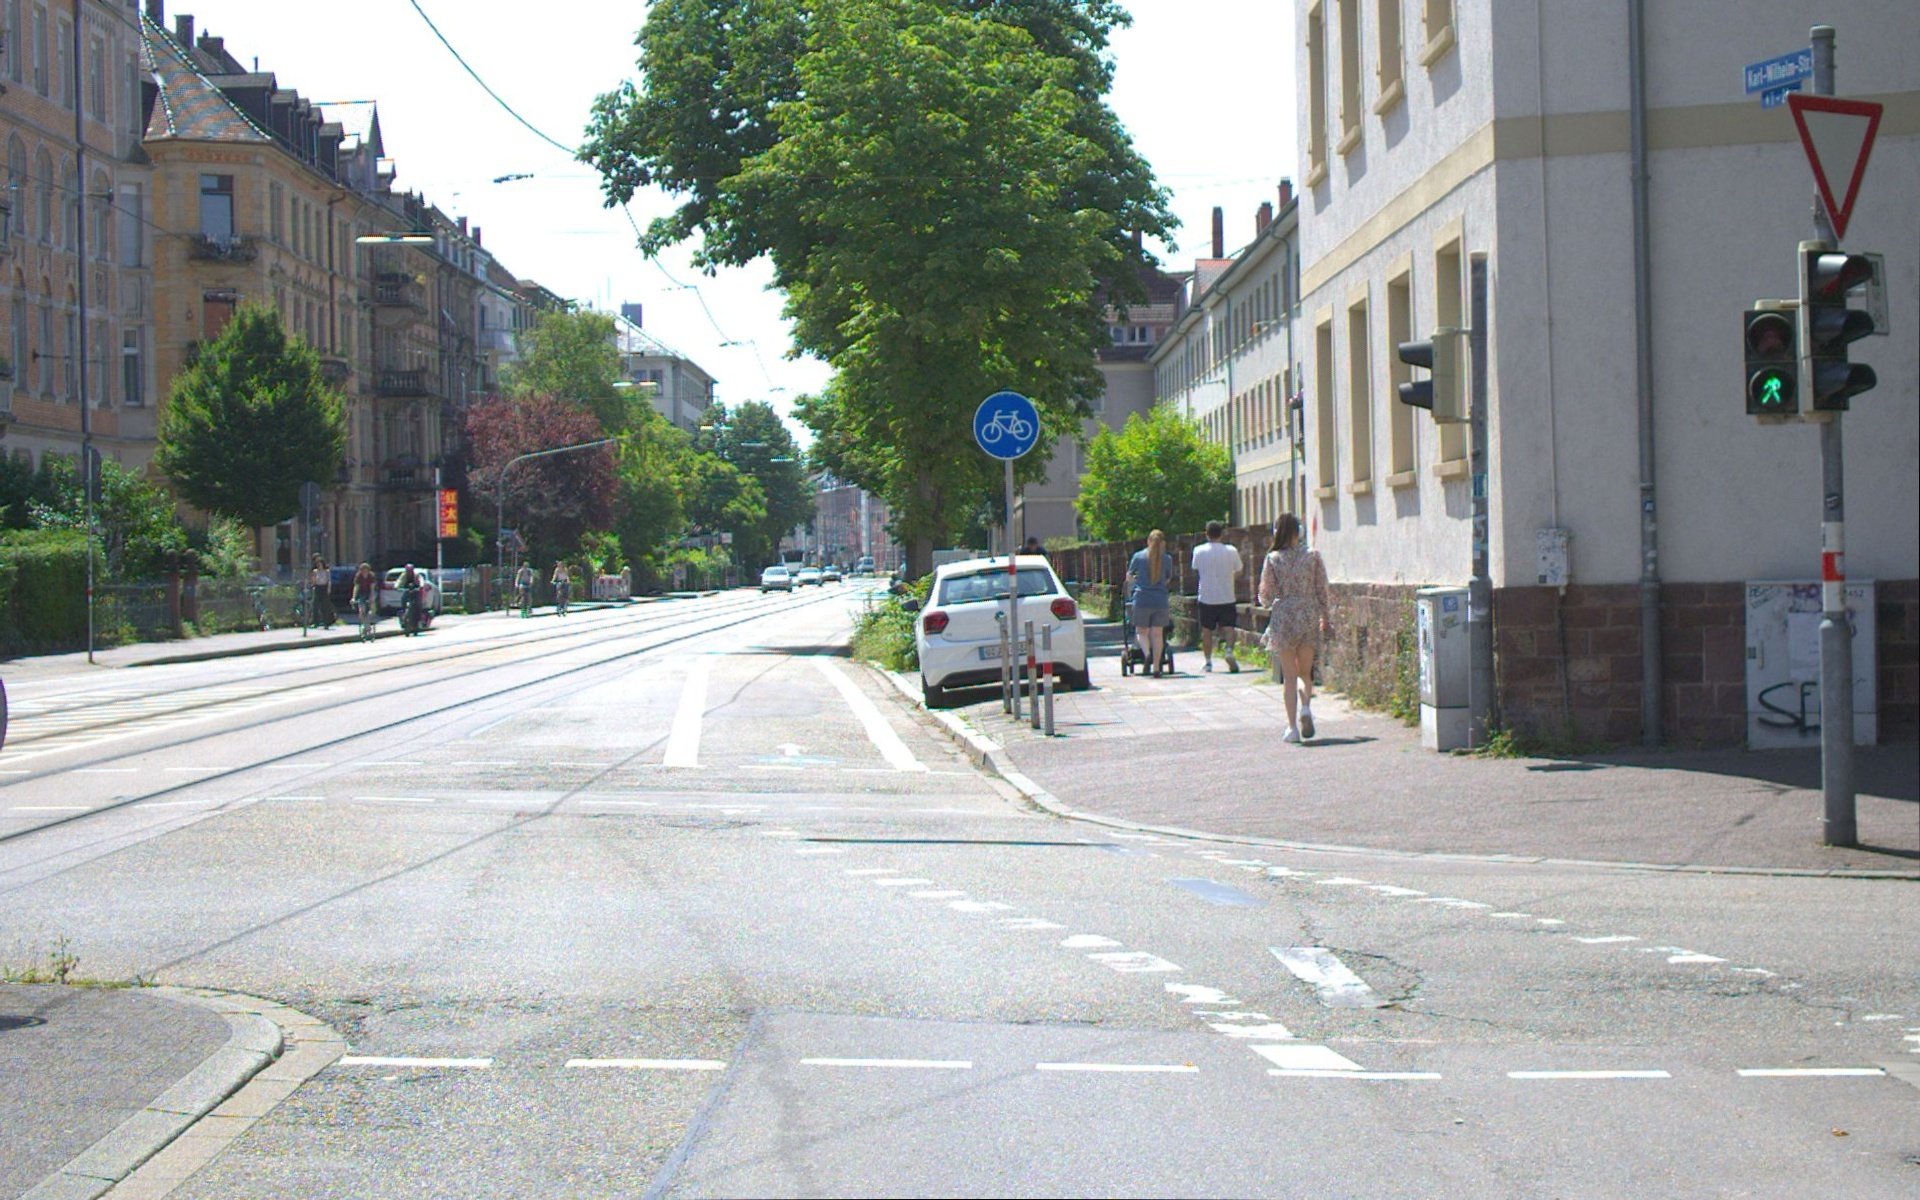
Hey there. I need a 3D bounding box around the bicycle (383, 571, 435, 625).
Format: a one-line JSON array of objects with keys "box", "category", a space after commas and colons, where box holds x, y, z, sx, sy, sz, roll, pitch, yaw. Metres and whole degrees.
[{"box": [-13.336, -0.061, 83.308, 0.807, 1.267, 2.551, -1, 1, 0], "category": "bicycle"}]

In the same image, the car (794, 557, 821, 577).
[{"box": [-11.324, -2.430, 255.886, 1.756, 1.419, 4.000, -2, 1, 0], "category": "car"}]

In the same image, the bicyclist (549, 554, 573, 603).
[{"box": [-12.630, -0.688, 108.856, 0.592, 1.539, 0.952, -2, 1, -1], "category": "bicyclist"}]

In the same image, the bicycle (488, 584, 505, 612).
[{"box": [-16.681, -0.069, 123.714, 0.454, 1.000, 1.807, -1, 1, -4], "category": "bicycle"}]

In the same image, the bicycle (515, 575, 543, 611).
[{"box": [-13.640, -0.220, 108.796, 0.629, 1.074, 1.875, -2, 1, -1], "category": "bicycle"}]

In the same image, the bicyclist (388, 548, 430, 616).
[{"box": [-13.341, -0.432, 83.270, 0.807, 1.624, 0.980, -1, 1, 0], "category": "bicyclist"}]

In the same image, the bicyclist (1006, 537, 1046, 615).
[{"box": [1.243, -0.452, 64.329, 0.711, 1.447, 1.010, -1, 1, 2], "category": "bicyclist"}]

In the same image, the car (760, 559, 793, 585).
[{"box": [-10.552, -1.620, 197.893, 1.684, 1.444, 4.000, -2, 1, -1], "category": "car"}]

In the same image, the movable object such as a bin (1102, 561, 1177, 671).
[{"box": [2.033, 0.173, 39.092, 0.697, 1.182, 1.036, -4, 1, -1], "category": "movable object such as a bin"}]

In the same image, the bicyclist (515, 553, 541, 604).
[{"box": [-13.659, -0.697, 108.678, 0.634, 1.579, 1.028, -2, 1, -1], "category": "bicyclist"}]

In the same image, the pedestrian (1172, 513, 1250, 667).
[{"box": [2.811, -0.118, 38.497, 0.697, 1.664, 0.756, -4, 1, -1], "category": "pedestrian"}]

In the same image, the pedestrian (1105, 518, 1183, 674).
[{"box": [2.038, -0.048, 38.130, 0.697, 1.664, 0.869, -4, 1, -1], "category": "pedestrian"}]

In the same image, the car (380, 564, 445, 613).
[{"box": [-18.251, -0.402, 114.653, 1.865, 1.594, 4.102, 0, 1, -5], "category": "car"}]

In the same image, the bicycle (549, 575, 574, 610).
[{"box": [-12.613, -0.234, 108.845, 0.581, 1.074, 1.891, -2, 1, -1], "category": "bicycle"}]

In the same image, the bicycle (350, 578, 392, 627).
[{"box": [-12.858, 0.049, 75.060, 0.567, 1.034, 1.829, -1, 1, 0], "category": "bicycle"}]

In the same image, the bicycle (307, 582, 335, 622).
[{"box": [-16.461, 0.043, 88.607, 0.438, 0.980, 1.711, -1, 1, -2], "category": "bicycle"}]

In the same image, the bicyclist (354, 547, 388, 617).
[{"box": [-12.864, -0.388, 75.079, 0.562, 1.510, 0.892, -1, 1, 0], "category": "bicyclist"}]

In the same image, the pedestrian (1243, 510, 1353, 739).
[{"box": [2.513, 0.175, 25.582, 0.697, 1.664, 0.756, -1, 1, -2], "category": "pedestrian"}]

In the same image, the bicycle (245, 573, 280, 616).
[{"box": [-16.513, -0.133, 81.419, 0.496, 0.984, 1.711, 3, 1, -2], "category": "bicycle"}]

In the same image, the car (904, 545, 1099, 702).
[{"box": [0.380, 0.207, 36.374, 1.777, 1.405, 4.157, -6, 1, -1], "category": "car"}]

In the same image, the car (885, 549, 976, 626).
[{"box": [-0.637, -0.277, 70.306, 1.656, 1.510, 4.001, -1, 1, -3], "category": "car"}]

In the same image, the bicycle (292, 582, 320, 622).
[{"box": [-16.462, 0.046, 86.566, 0.438, 0.980, 1.711, -1, 1, -2], "category": "bicycle"}]
